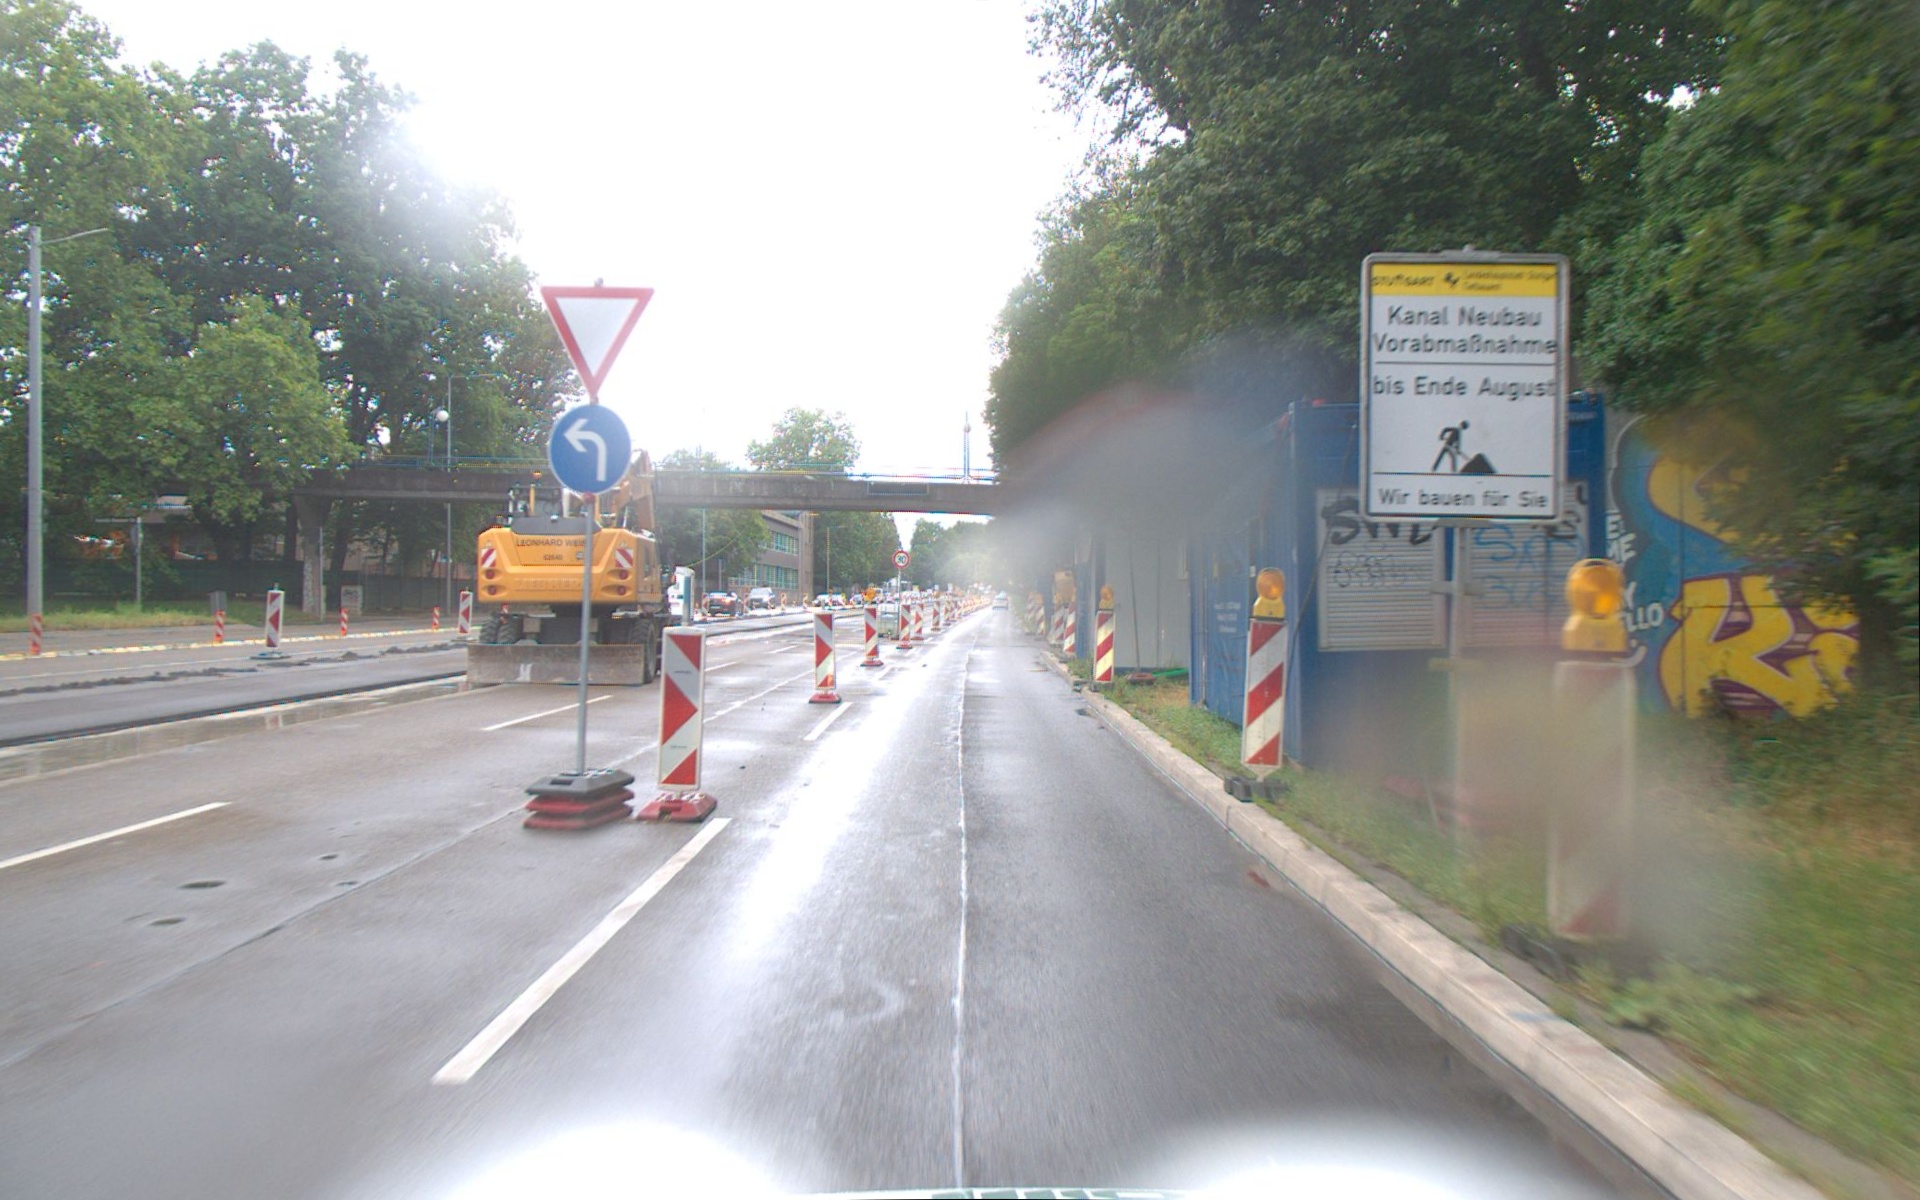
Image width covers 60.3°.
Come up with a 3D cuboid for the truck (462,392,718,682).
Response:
[{"bbox_3d":[-6.411,-0.980,30.565,2.840,4.333,10.748,2,0,-4],"label":"truck"}]

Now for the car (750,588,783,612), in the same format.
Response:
[{"bbox_3d":[-15.170,0.013,129.803,1.930,1.837,4.609,0,0,2],"label":"car"}]

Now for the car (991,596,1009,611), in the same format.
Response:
[{"bbox_3d":[4.419,0.395,184.270,1.952,1.668,4.001,0,0,1],"label":"car"}]
